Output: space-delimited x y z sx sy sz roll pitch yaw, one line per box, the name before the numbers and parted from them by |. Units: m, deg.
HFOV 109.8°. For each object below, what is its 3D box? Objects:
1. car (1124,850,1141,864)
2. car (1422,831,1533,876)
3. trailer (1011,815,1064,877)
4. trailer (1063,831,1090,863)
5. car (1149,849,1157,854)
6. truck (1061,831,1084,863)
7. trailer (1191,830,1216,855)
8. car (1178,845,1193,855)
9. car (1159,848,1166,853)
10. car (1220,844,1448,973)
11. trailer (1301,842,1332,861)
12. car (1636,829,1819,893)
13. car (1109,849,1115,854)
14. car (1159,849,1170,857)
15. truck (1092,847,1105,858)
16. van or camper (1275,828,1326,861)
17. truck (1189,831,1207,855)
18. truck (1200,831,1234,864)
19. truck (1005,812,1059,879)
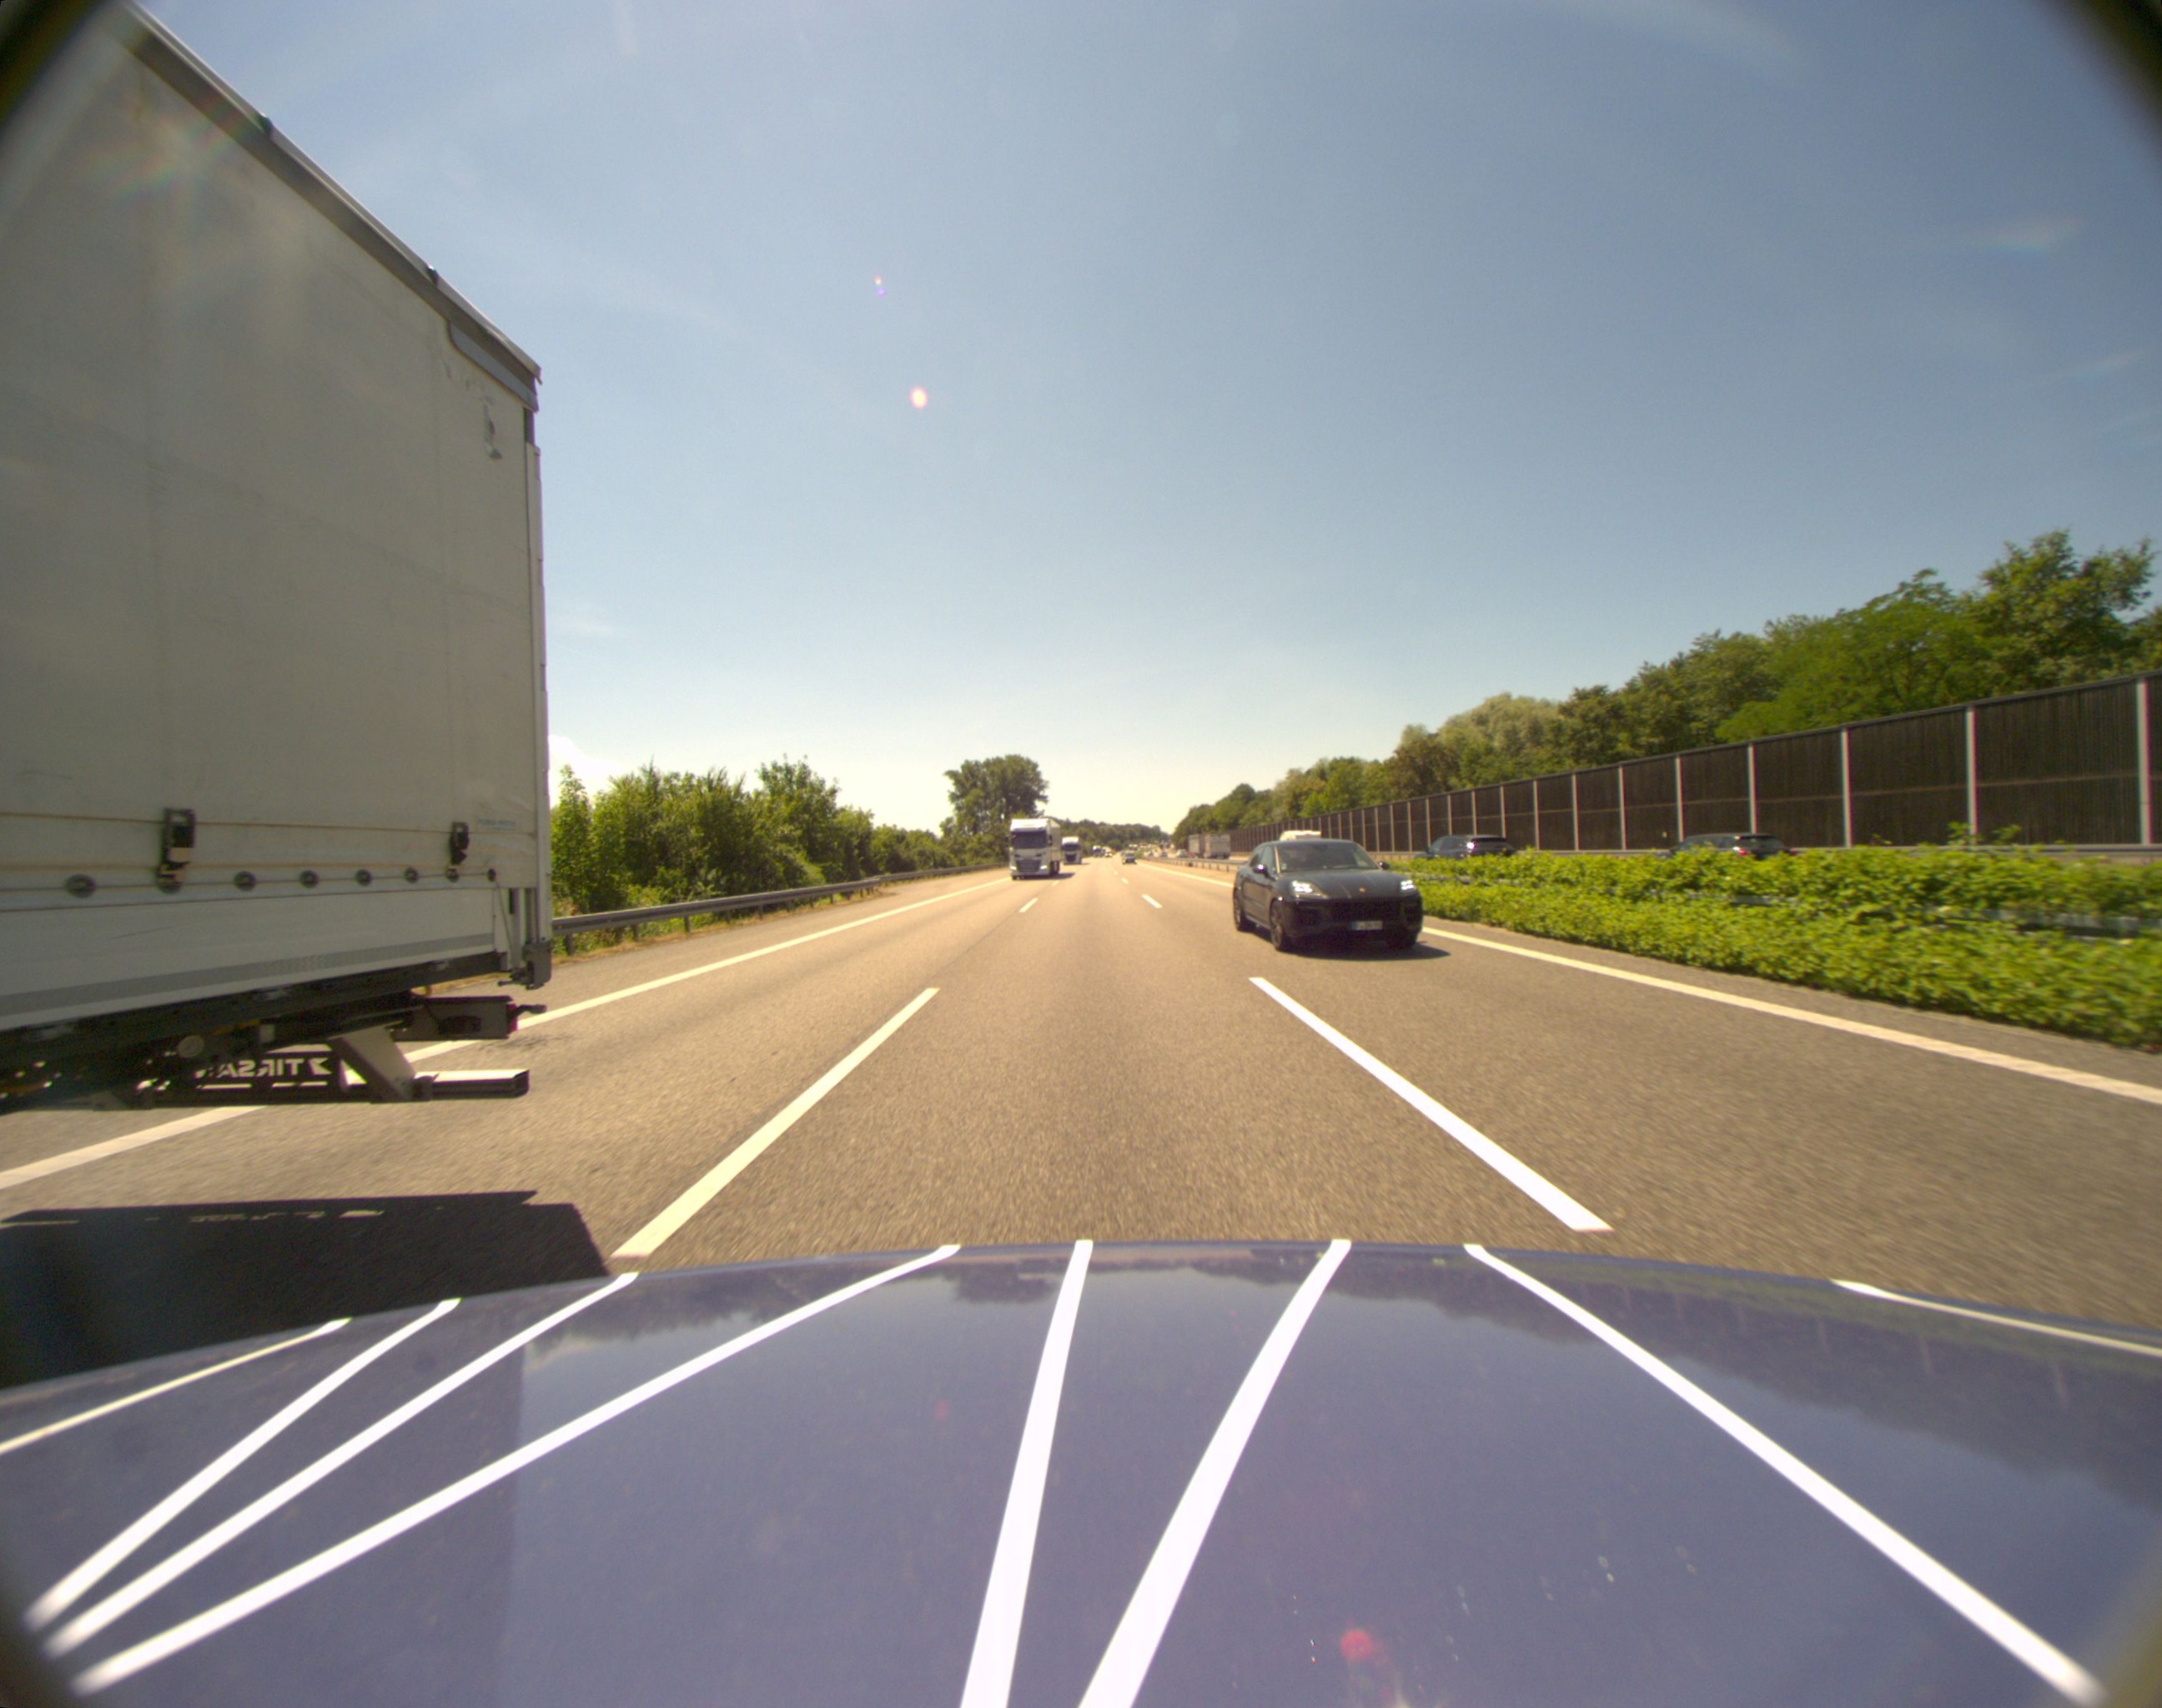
car | 6.631 0.396 98.594 1.909 1.717 4.376 -2 1 2
car | 13.394 -0.024 25.931 1.710 1.347 4.000 -2 0 1
trailer | -3.112 -0.581 58.096 2.966 4.082 12.532 -2 0 1
trailer | -0.577 -1.062 115.945 2.541 4.446 14.164 -2 0 5
car | 22.305 -0.788 235.312 1.903 1.512 4.419 -2 0 2
truck | -1.157 -0.992 109.300 2.541 4.446 5.574 -2 1 5
trailer | 20.844 -1.924 130.294 2.347 4.052 14.210 -2 0 2
car | 16.522 -0.688 120.373 1.924 1.537 4.582 -2 0 2
car | 27.388 -1.112 255.463 2.129 1.513 5.983 -2 0 3
car | 3.811 0.698 12.762 2.048 1.615 5.772 -2 0 2
trailer | 20.304 -0.213 65.565 1.731 1.569 3.092 1 0 0
car | 18.198 0.183 21.656 1.818 1.590 4.000 -2 0 1
car | 9.874 -0.765 241.111 1.908 1.717 4.377 -2 1 4
car | 17.191 -0.154 156.713 1.809 1.535 4.246 -2 0 2
truck | 6.187 -0.708 264.778 3.072 3.617 12.406 -2 0 7
van or camper | 20.312 -0.881 70.804 2.564 2.897 7.374 1 0 0
truck | 21.066 -1.982 137.177 2.363 4.052 7.153 -2 0 2
truck | 14.623 -0.734 82.251 2.416 3.333 6.919 -2 0 1
truck | -3.208 -0.547 51.137 2.966 4.082 6.206 -2 0 1
